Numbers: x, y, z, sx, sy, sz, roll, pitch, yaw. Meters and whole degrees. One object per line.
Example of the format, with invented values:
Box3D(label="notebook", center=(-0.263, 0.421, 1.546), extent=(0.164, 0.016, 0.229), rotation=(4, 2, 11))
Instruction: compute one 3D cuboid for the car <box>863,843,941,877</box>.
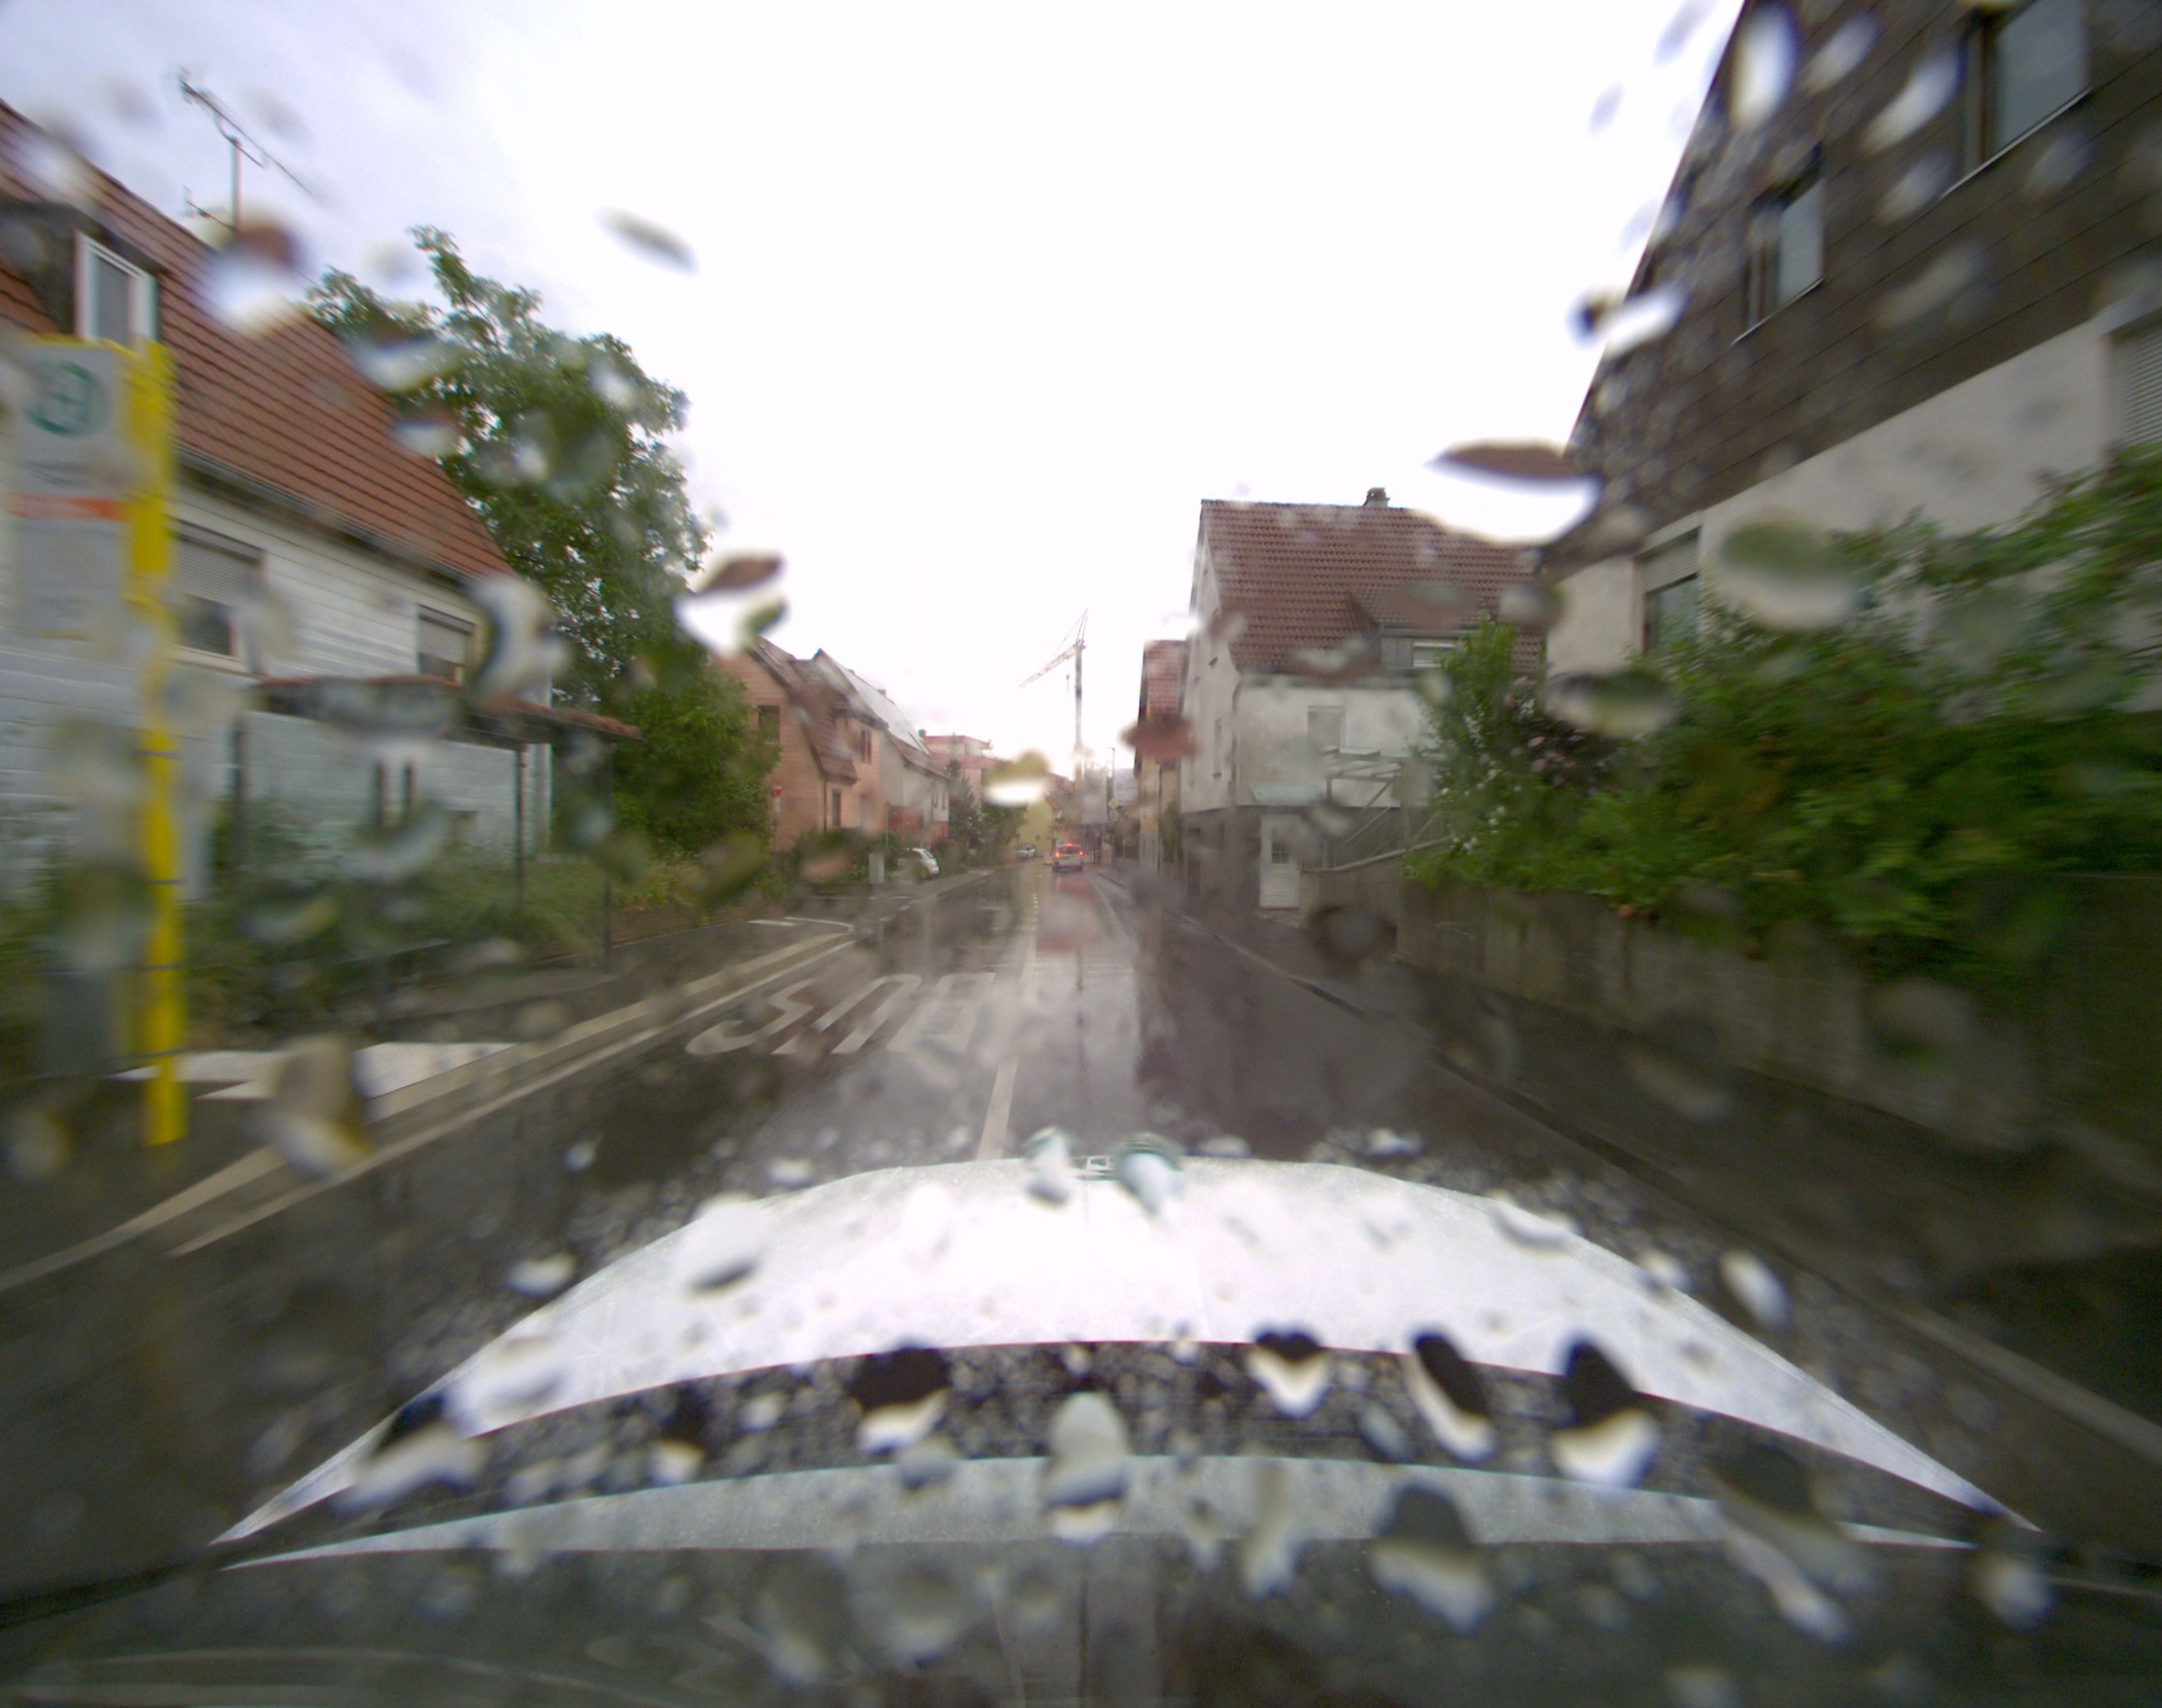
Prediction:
Box3D(label="car", center=(-8.996, 0.303, 41.179), extent=(3.534, 1.529, 1.662), rotation=(2, 0, -1))

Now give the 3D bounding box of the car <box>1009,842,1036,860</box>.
Box3D(label="car", center=(-5.882, -0.348, 82.314), extent=(1.589, 1.677, 3.953), rotation=(1, 2, 13))

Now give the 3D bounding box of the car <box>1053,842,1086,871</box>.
Box3D(label="car", center=(-0.858, 0.178, 56.321), extent=(2.176, 1.869, 3.997), rotation=(0, 0, -2))
